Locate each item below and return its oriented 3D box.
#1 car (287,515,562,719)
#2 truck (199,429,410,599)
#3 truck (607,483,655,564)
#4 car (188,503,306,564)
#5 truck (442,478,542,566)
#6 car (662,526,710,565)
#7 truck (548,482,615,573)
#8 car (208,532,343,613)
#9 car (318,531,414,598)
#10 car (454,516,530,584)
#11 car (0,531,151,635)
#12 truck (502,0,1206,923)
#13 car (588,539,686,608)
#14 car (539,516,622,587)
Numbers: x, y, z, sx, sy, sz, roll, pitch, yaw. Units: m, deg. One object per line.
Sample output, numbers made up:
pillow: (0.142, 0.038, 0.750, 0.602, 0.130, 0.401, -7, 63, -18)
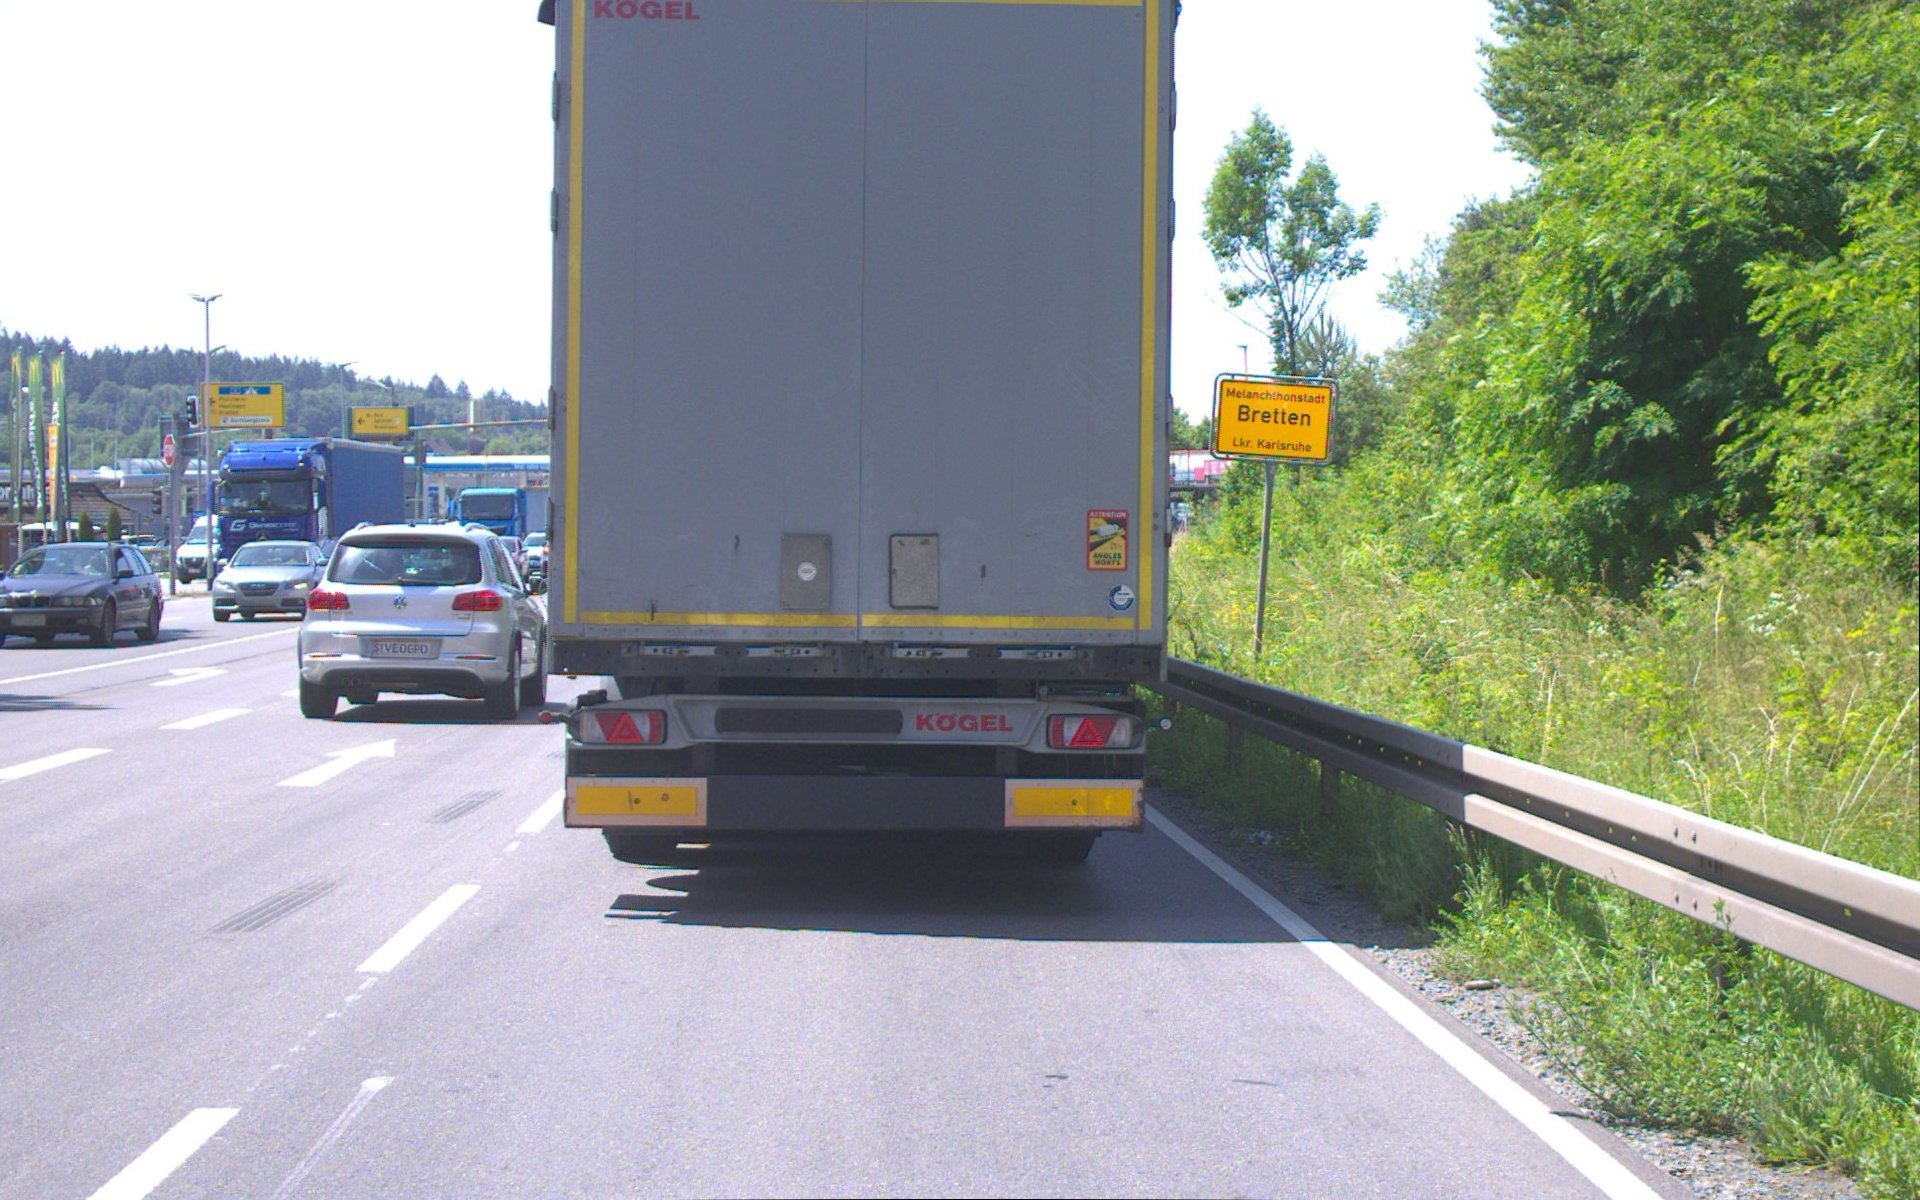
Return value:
car: (-4.698, 0.102, 30.712, 1.804, 1.664, 4.292, 1, 1, -1)
truck: (-17.433, -2.264, 92.772, 2.968, 4.162, 16.576, 0, 1, -2)
truck: (-19.934, -4.559, 207.772, 2.538, 4.611, 10.835, 1, 0, -7)
car: (-25.866, -2.417, 124.818, 1.995, 2.175, 5.189, 0, 1, 16)
truck: (-18.489, -3.049, 136.338, 2.846, 3.340, 11.483, 0, 1, -2)
car: (-14.899, -2.961, 187.294, 2.489, 2.007, 5.530, 1, 0, -4)
truck: (-19.076, -3.606, 172.734, 3.145, 4.334, 17.546, 0, 1, -7)
car: (-12.303, -0.482, 61.983, 1.766, 1.382, 4.000, 1, 0, -2)
car: (-13.111, -0.807, 76.044, 1.641, 1.433, 4.017, 0, 1, -3)
car: (-14.138, -1.521, 104.013, 1.773, 2.007, 4.000, 0, 1, -1)
car: (-12.613, -0.241, 48.120, 1.766, 1.382, 4.000, 1, 0, -2)
truck: (-0.506, -1.071, 22.157, 2.755, 4.623, 16.656, 1, 0, -1)
car: (-6.695, -0.561, 71.550, 1.686, 1.393, 4.403, 0, 1, -1)
car: (-10.870, -1.397, 98.723, 1.993, 2.007, 4.000, 0, 1, -1)
